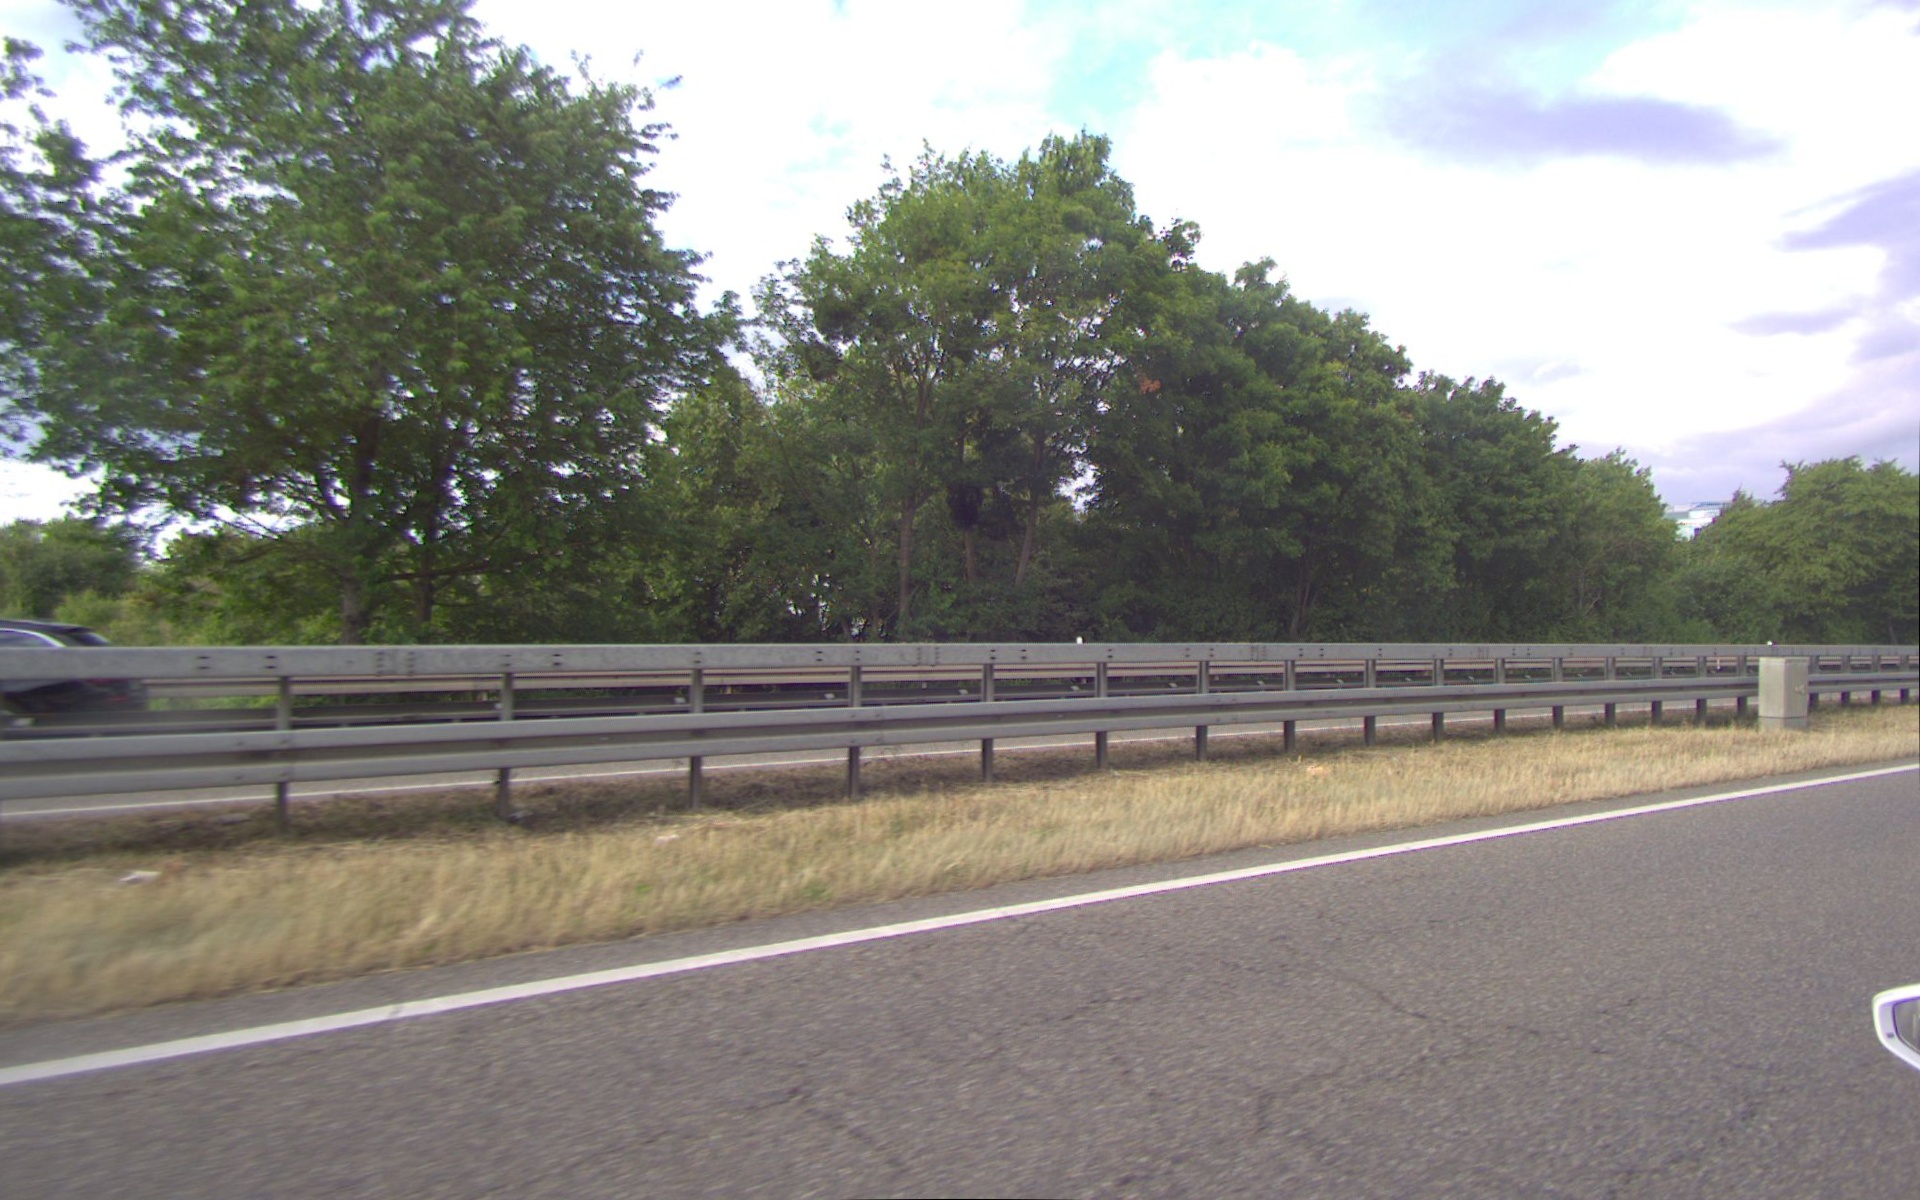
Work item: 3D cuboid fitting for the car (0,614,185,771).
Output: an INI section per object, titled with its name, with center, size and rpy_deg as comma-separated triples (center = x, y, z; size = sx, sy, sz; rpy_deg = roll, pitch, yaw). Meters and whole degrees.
[car]
center = -10.925, 0.927, 10.246
size = 4.534, 1.564, 1.816
rpy_deg = 1, -2, -31
